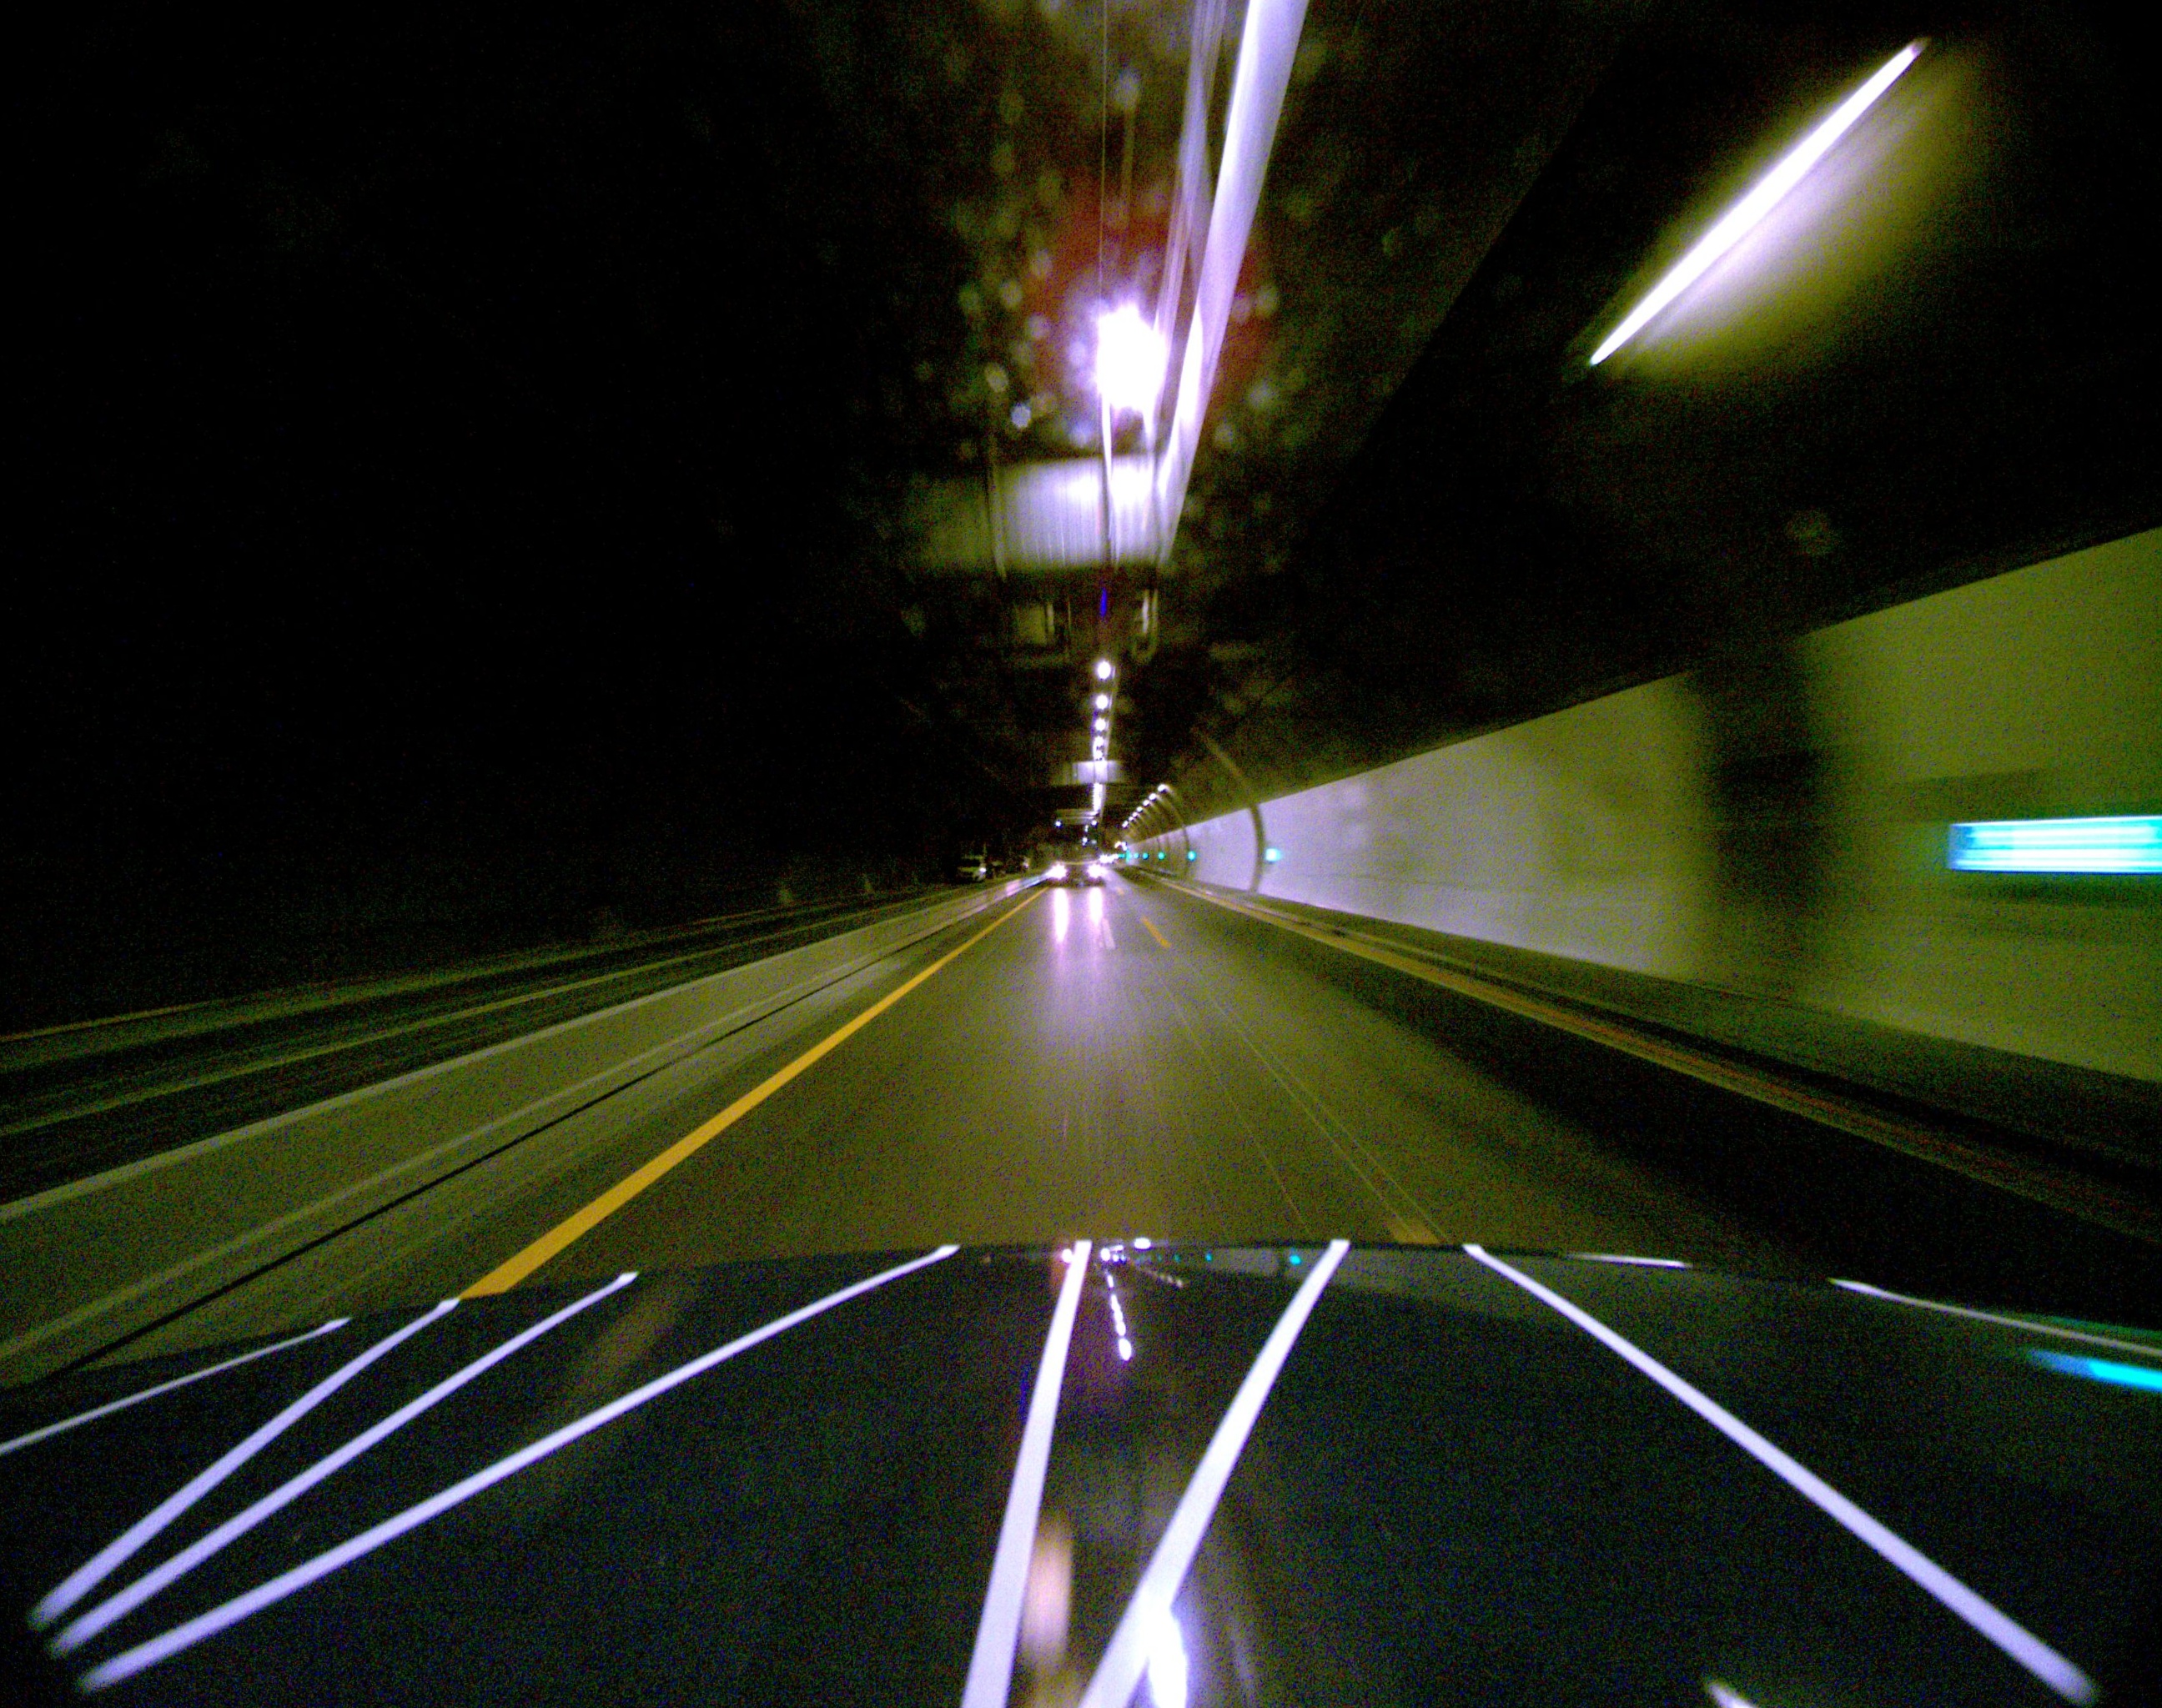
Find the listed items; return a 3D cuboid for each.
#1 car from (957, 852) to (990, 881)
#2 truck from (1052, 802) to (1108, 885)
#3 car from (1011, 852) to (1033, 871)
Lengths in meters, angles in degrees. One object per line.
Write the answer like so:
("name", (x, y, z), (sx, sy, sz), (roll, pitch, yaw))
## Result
("car", (-7.234, 0.811, 51.539), (1.756, 1.834, 4.644), (-1, 0, -3))
("truck", (0.059, -0.569, 43.071), (2.769, 4.198, 7.977), (-1, 1, 1))
("car", (-6.271, 0.765, 81.571), (1.832, 1.848, 5.441), (-3, 0, 0))
